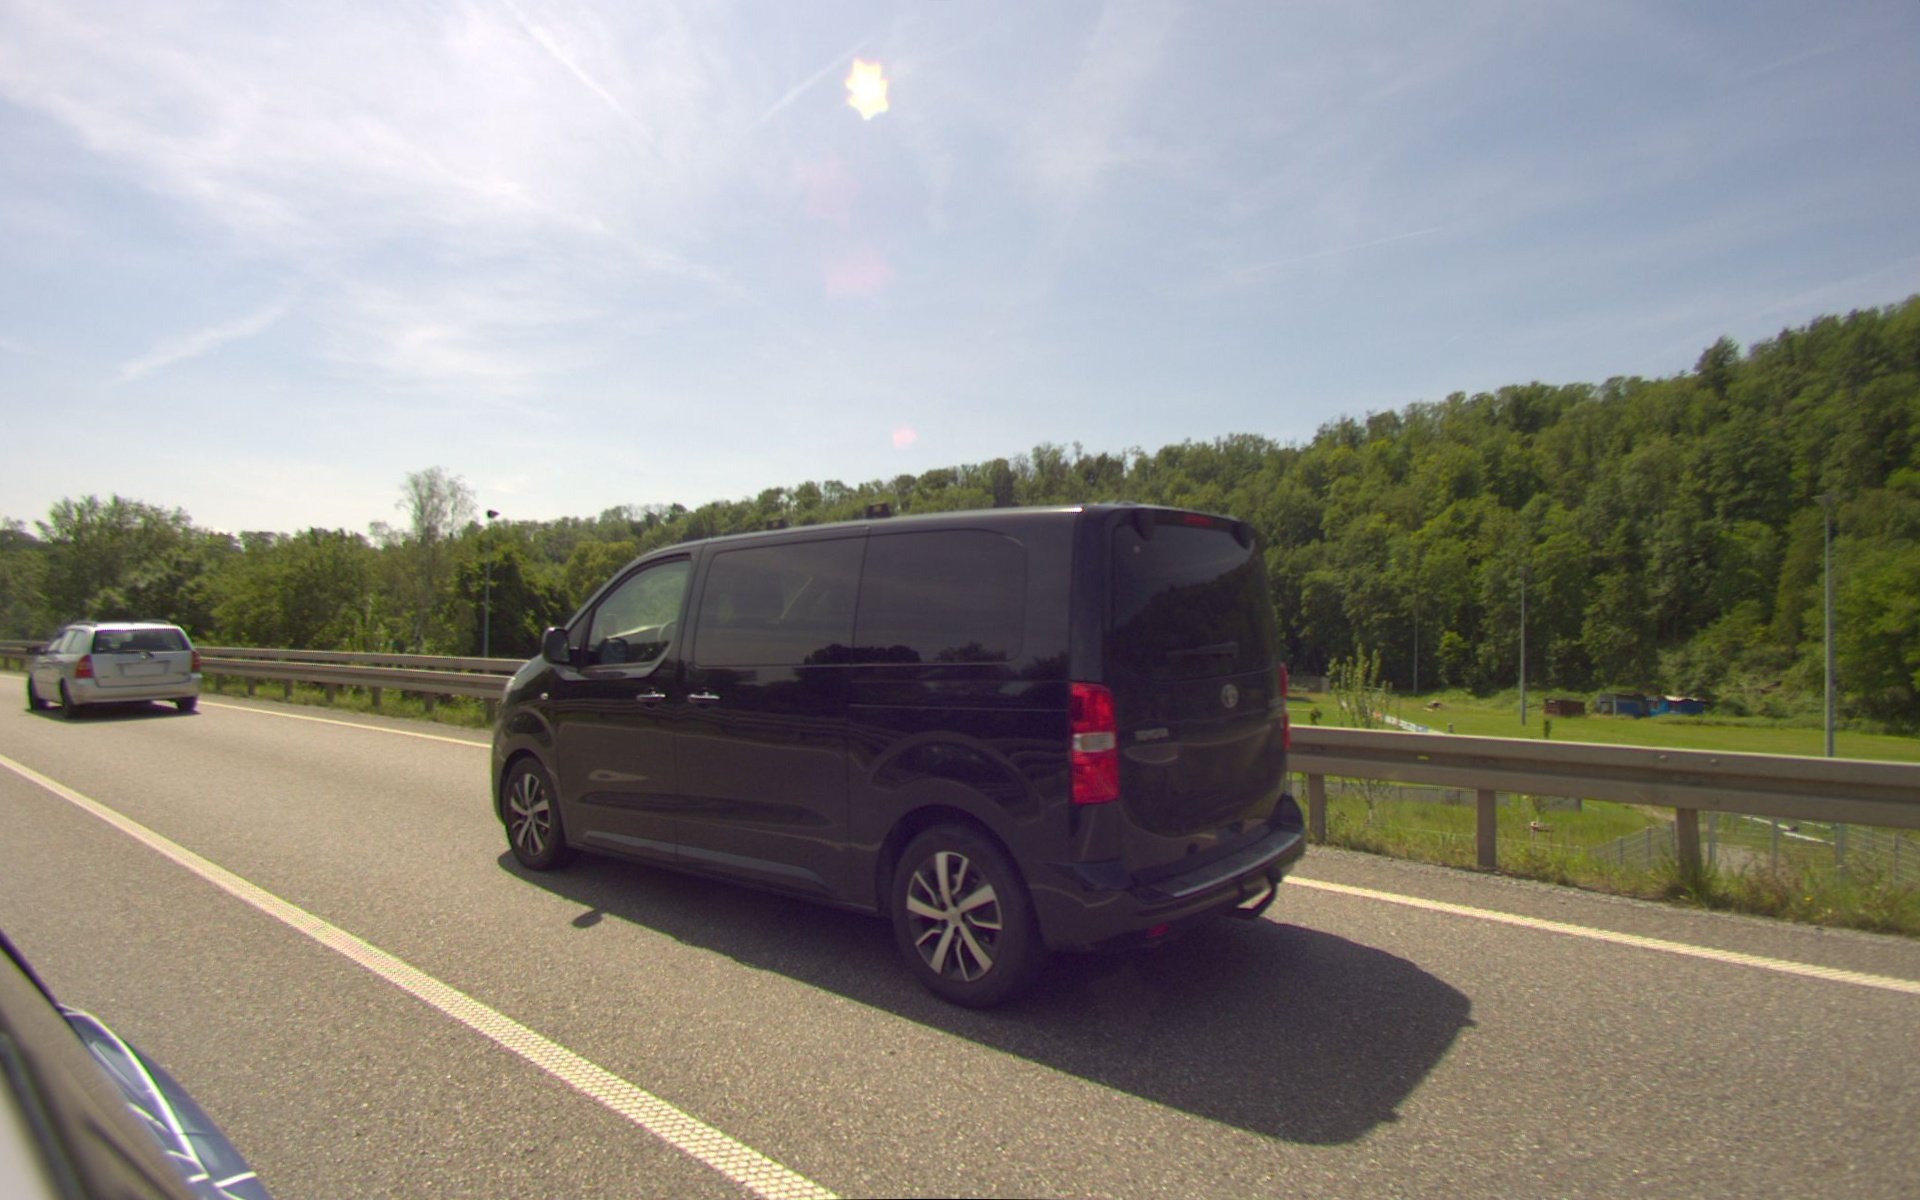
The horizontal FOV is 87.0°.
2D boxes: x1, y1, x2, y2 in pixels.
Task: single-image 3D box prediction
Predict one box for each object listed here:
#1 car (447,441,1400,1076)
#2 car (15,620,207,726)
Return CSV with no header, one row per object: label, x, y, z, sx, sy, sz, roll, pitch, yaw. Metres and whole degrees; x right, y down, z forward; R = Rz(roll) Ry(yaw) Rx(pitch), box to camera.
car,-0.652,0.521,5.410,5.172,1.874,1.902,-2,-1,41
car,-14.062,1.107,16.695,4.167,1.505,1.750,-1,-1,40
